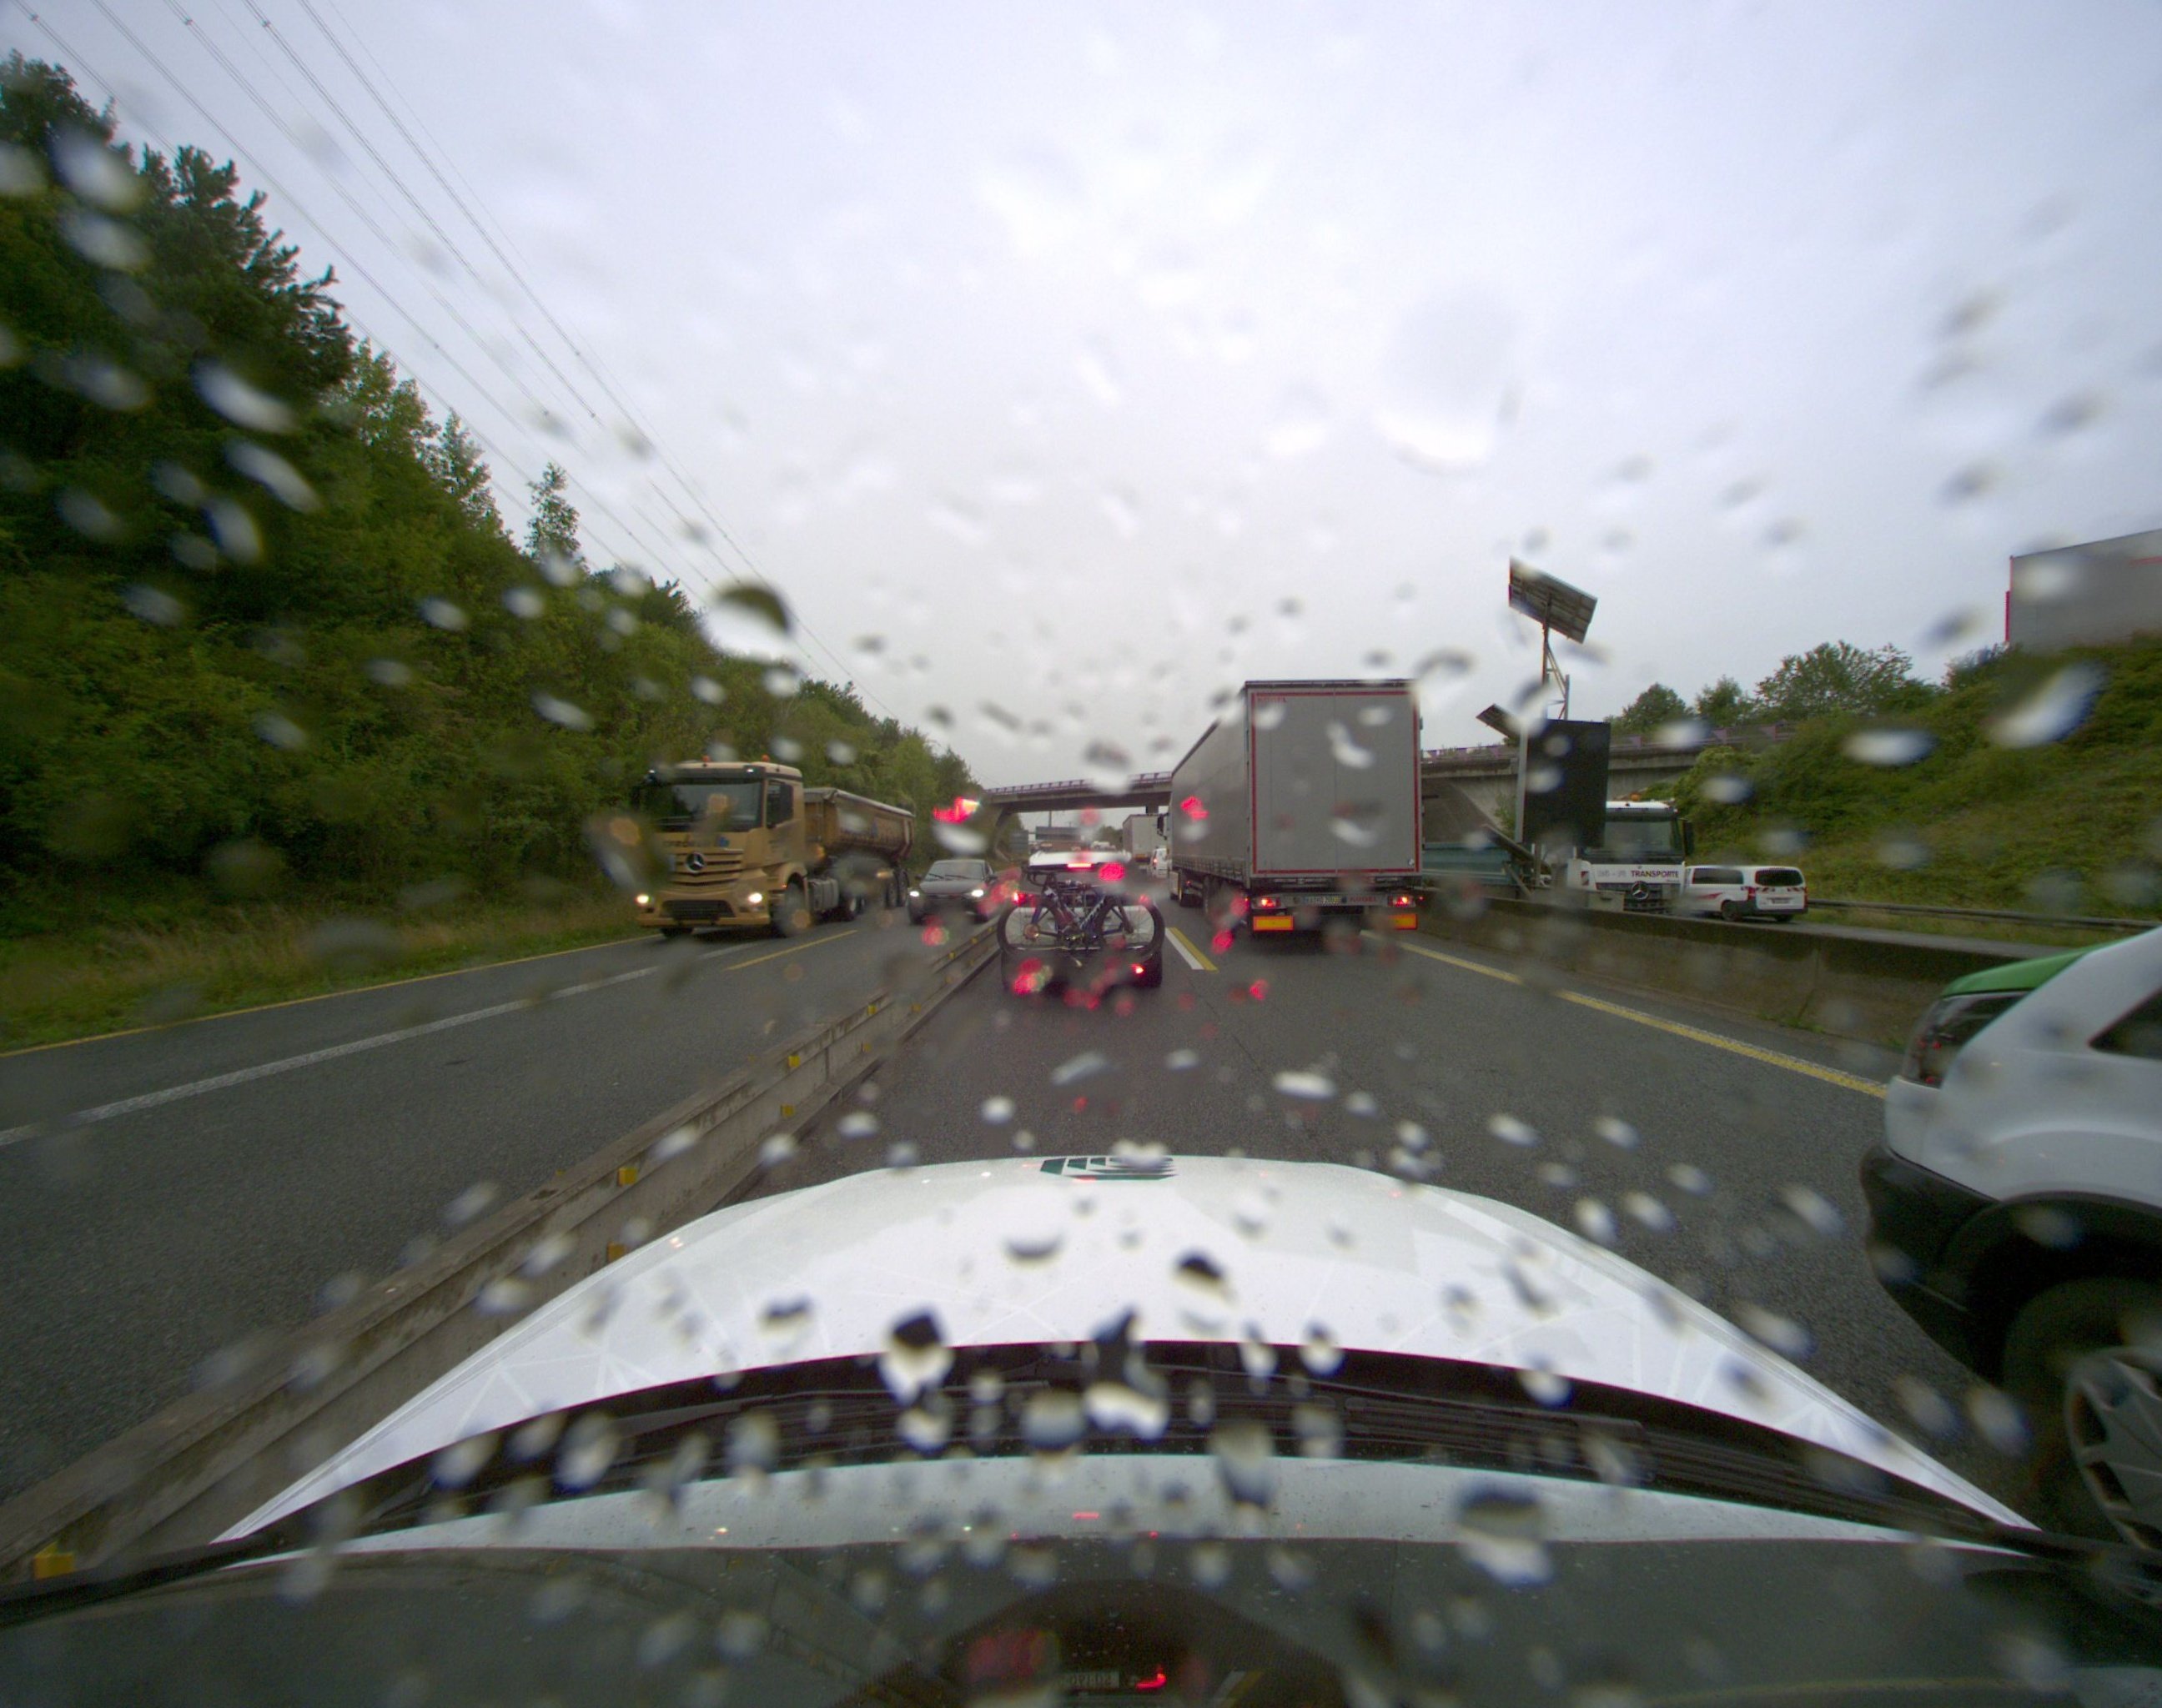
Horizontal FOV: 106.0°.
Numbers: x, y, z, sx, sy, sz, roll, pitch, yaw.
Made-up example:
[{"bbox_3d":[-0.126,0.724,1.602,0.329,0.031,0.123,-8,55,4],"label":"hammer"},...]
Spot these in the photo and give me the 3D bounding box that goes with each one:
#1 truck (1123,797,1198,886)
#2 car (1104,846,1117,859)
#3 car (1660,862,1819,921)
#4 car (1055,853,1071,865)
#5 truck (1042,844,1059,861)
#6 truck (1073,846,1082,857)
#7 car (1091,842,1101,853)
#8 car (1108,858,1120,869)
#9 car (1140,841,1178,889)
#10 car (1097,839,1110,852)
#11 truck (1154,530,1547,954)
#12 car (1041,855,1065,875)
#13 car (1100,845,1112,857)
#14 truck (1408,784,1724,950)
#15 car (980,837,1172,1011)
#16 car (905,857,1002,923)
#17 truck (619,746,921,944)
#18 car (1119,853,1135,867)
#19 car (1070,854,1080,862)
[{"bbox_3d":[5.649,-0.725,62.665,4.723,5.673,20.391,-1,0,3],"label":"truck"},{"bbox_3d":[4.657,-0.168,126.934,1.986,2.014,4.002,-1,0,2],"label":"car"},{"bbox_3d":[22.603,1.227,28.246,1.934,1.829,4.732,-1,0,4],"label":"car"},{"bbox_3d":[-2.327,0.656,105.018,1.804,1.488,4.397,-1,0,1],"label":"car"},{"bbox_3d":[-6.695,-0.287,180.010,2.671,3.656,12.317,-1,0,2],"label":"truck"},{"bbox_3d":[-0.972,-0.652,251.028,2.526,3.352,12.051,-1,0,1],"label":"truck"},{"bbox_3d":[3.020,-1.314,168.047,1.986,2.126,4.528,-1,0,2],"label":"car"},{"bbox_3d":[4.659,1.333,114.182,1.632,1.497,3.667,-1,0,2],"label":"car"},{"bbox_3d":[3.741,0.510,39.631,1.663,2.180,4.538,-1,0,3],"label":"car"},{"bbox_3d":[4.184,-1.532,151.211,2.231,2.307,4.574,-1,0,2],"label":"car"},{"bbox_3d":[4.523,-1.447,21.161,3.965,5.673,20.381,-1,0,2],"label":"truck"},{"bbox_3d":[-2.302,0.897,67.776,1.804,1.559,3.990,-1,0,1],"label":"car"},{"bbox_3d":[4.216,-0.505,138.712,1.986,2.014,4.002,-1,0,2],"label":"car"},{"bbox_3d":[11.029,0.275,20.011,2.511,3.131,9.121,-1,0,2],"label":"truck"},{"bbox_3d":[0.067,0.681,10.027,1.803,1.637,4.639,-1,0,3],"label":"car"},{"bbox_3d":[-2.957,0.797,19.598,1.680,1.409,3.929,-1,0,0],"label":"car"},{"bbox_3d":[-6.497,-0.118,19.906,2.526,3.352,12.051,-1,0,1],"label":"truck"},{"bbox_3d":[4.898,0.651,87.681,1.632,1.497,3.667,-1,0,2],"label":"car"},{"bbox_3d":[-1.141,0.811,152.882,1.680,1.409,3.929,-1,0,0],"label":"car"}]
